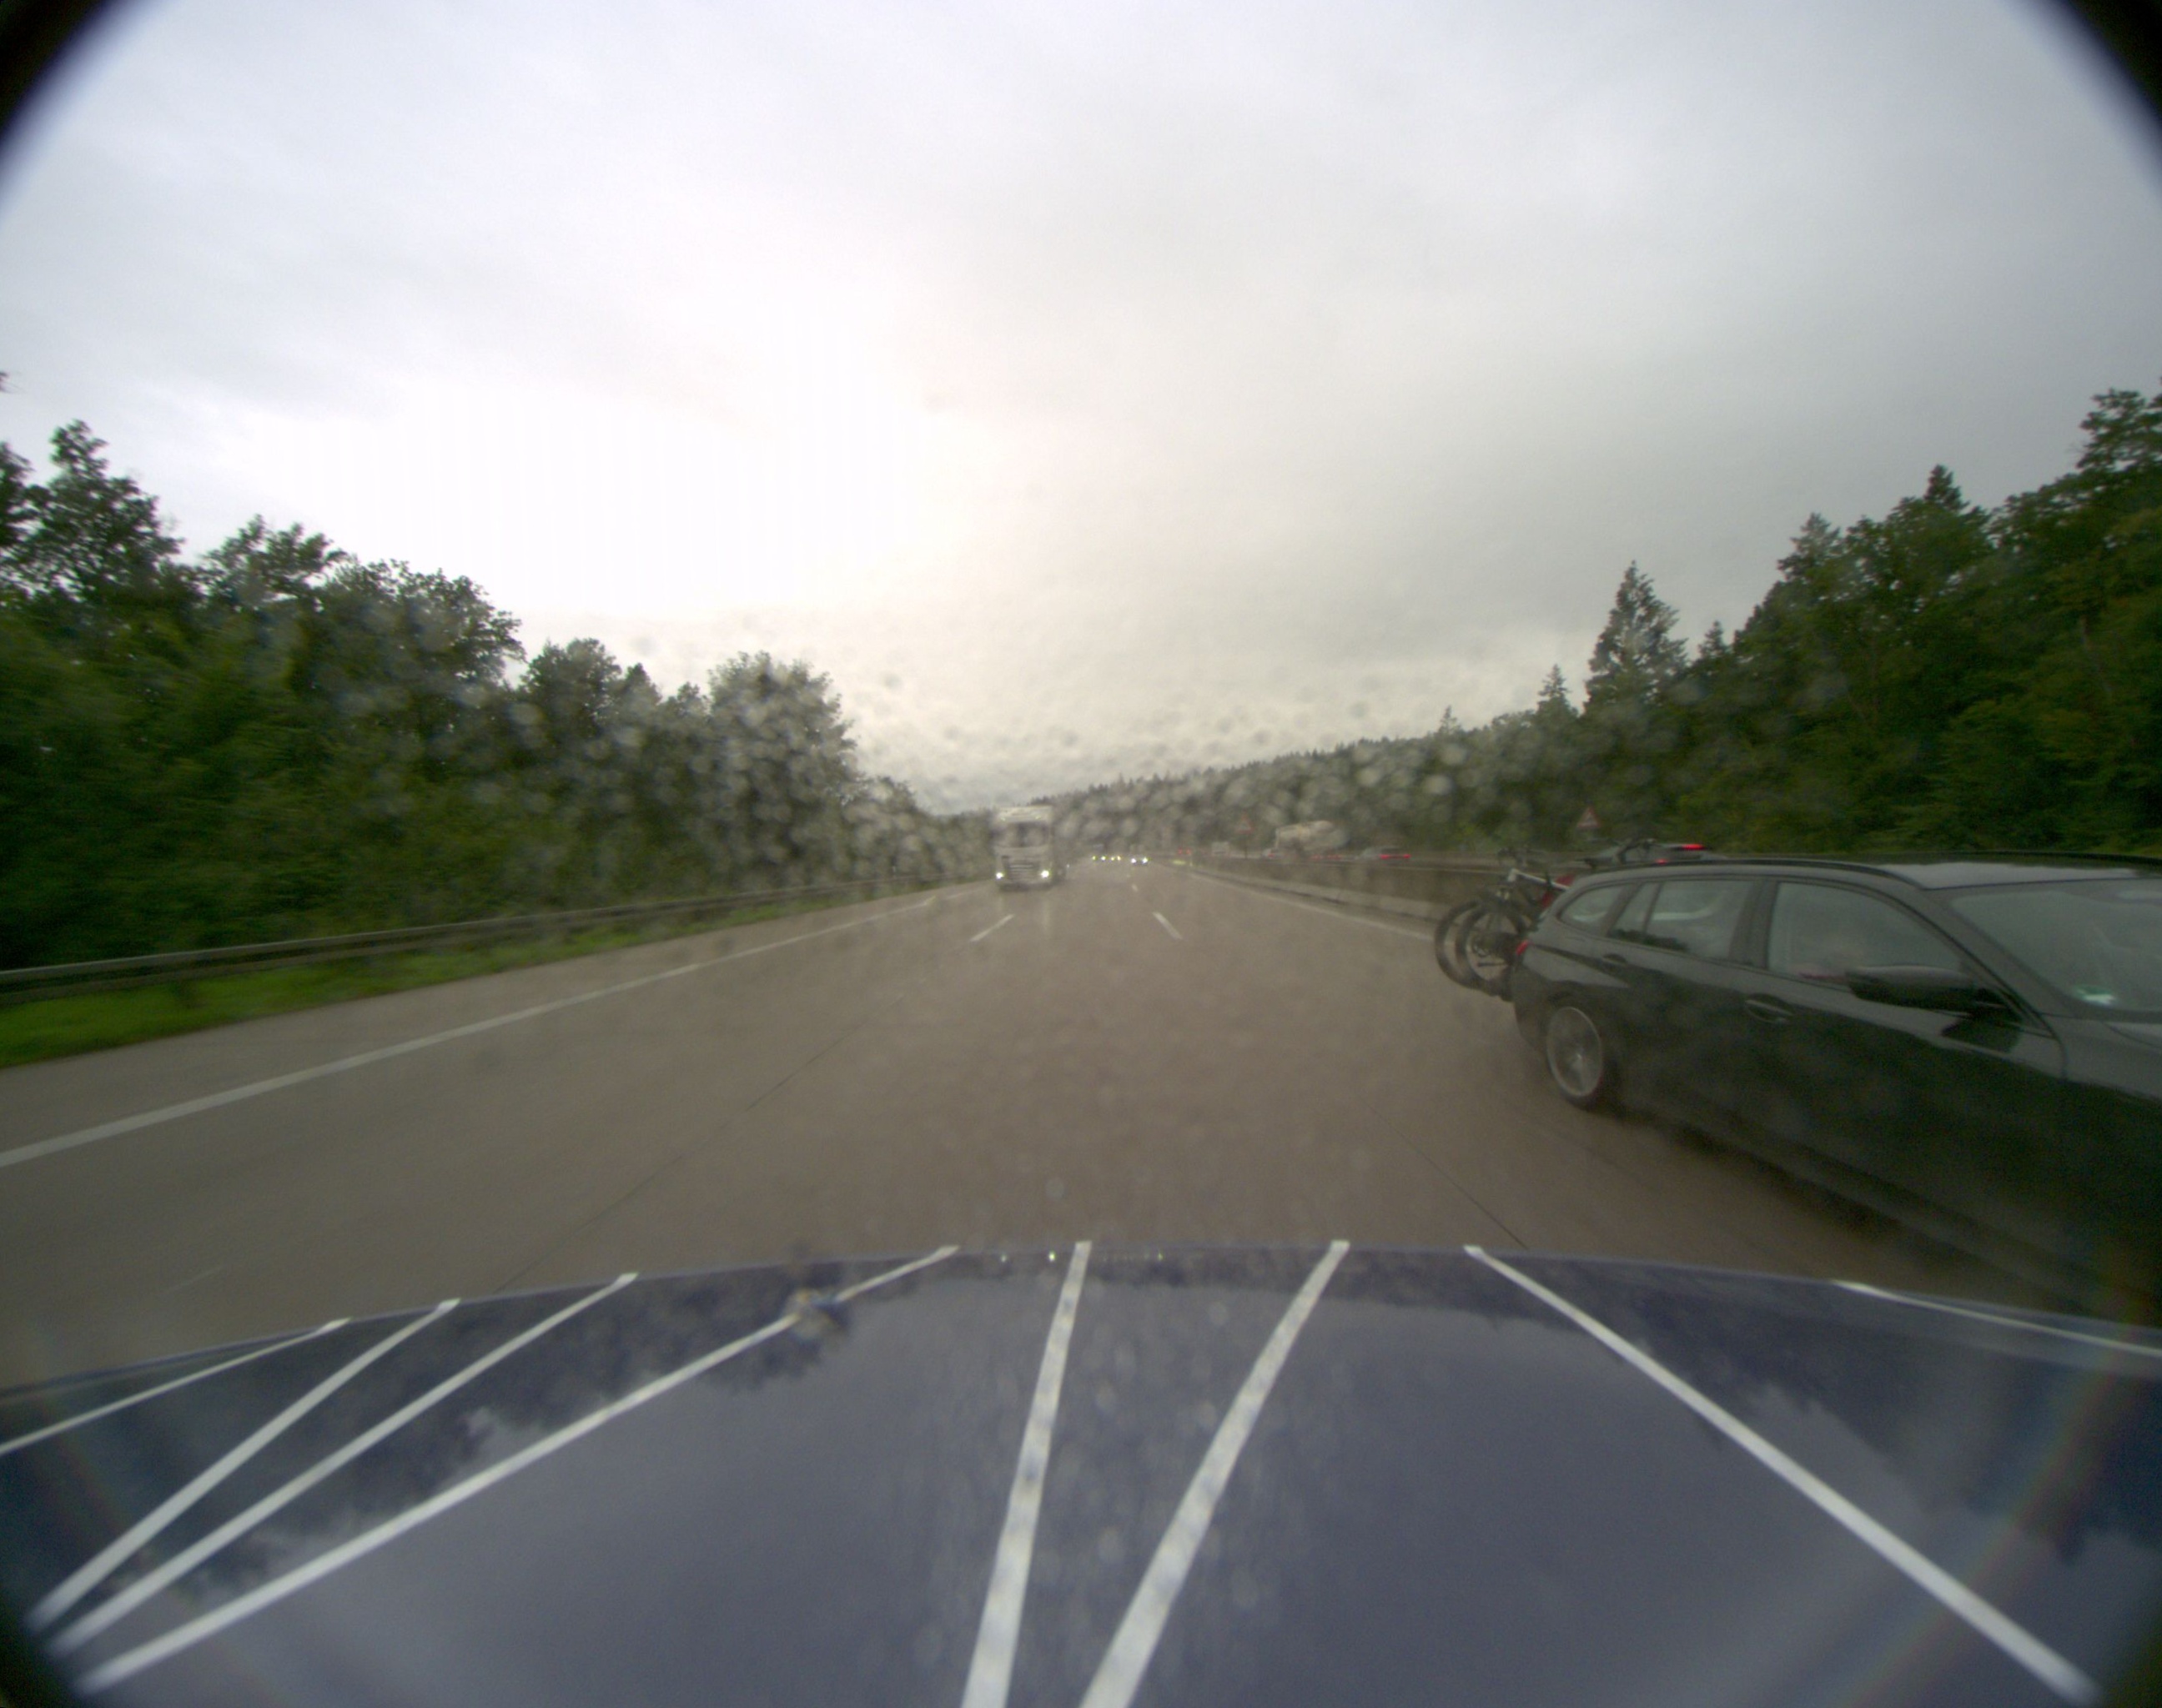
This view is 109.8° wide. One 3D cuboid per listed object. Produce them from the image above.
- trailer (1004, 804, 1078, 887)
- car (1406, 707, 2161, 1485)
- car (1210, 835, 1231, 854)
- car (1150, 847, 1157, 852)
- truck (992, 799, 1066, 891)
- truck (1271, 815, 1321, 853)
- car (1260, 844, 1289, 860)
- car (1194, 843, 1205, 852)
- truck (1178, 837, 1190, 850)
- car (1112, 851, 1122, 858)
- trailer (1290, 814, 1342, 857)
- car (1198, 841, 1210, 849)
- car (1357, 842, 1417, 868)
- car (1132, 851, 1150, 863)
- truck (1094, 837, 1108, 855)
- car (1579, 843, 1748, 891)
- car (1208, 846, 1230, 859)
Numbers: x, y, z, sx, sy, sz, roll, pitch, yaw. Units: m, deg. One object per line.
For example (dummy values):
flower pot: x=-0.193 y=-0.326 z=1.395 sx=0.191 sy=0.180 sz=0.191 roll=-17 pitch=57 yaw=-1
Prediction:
trailer: x=-1.999 y=-0.487 z=44.423 sx=2.685 sy=4.017 sz=13.706 roll=-2 pitch=0 yaw=3
car: x=3.639 y=0.570 z=3.226 sx=1.912 sy=1.933 sz=6.162 roll=-2 pitch=0 yaw=1
car: x=20.034 y=-1.346 z=109.209 sx=1.998 sy=2.435 sz=6.746 roll=-2 pitch=0 yaw=3
car: x=21.209 y=-1.201 z=221.997 sx=1.998 sy=1.382 sz=4.752 roll=-3 pitch=0 yaw=4
truck: x=-2.402 y=-0.422 z=36.948 sx=2.727 sy=4.018 sz=5.753 roll=-2 pitch=1 yaw=3
truck: x=22.221 y=-1.998 z=79.259 sx=2.570 sy=3.646 sz=10.492 roll=-2 pitch=0 yaw=2
car: x=17.895 y=-0.226 z=70.427 sx=1.662 sy=1.364 sz=4.721 roll=-2 pitch=0 yaw=2
car: x=21.946 y=-1.269 z=141.031 sx=1.612 sy=1.545 sz=4.643 roll=-3 pitch=0 yaw=3
truck: x=27.910 y=-2.840 z=206.193 sx=2.438 sy=3.156 sz=10.664 roll=-3 pitch=0 yaw=4
car: x=7.527 y=0.057 z=158.523 sx=1.716 sy=1.399 sz=4.936 roll=-2 pitch=0 yaw=1
trailer: x=21.827 y=-1.677 z=71.077 sx=2.552 sy=3.646 sz=8.231 roll=-2 pitch=0 yaw=2
car: x=26.817 y=-1.941 z=166.009 sx=1.998 sy=1.689 sz=4.975 roll=-3 pitch=0 yaw=3
car: x=16.761 y=0.031 z=41.874 sx=1.806 sy=1.326 sz=4.566 roll=-2 pitch=0 yaw=5
car: x=7.260 y=0.381 z=92.409 sx=1.716 sy=1.399 sz=4.936 roll=-2 pitch=0 yaw=1
truck: x=4.693 y=-1.801 z=180.044 sx=2.737 sy=4.127 sz=8.621 roll=-2 pitch=0 yaw=-1
car: x=16.288 y=0.310 z=21.569 sx=1.514 sy=1.159 sz=4.404 roll=-2 pitch=0 yaw=2
car: x=15.672 y=-0.168 z=86.295 sx=1.663 sy=1.364 sz=4.758 roll=-2 pitch=0 yaw=1
